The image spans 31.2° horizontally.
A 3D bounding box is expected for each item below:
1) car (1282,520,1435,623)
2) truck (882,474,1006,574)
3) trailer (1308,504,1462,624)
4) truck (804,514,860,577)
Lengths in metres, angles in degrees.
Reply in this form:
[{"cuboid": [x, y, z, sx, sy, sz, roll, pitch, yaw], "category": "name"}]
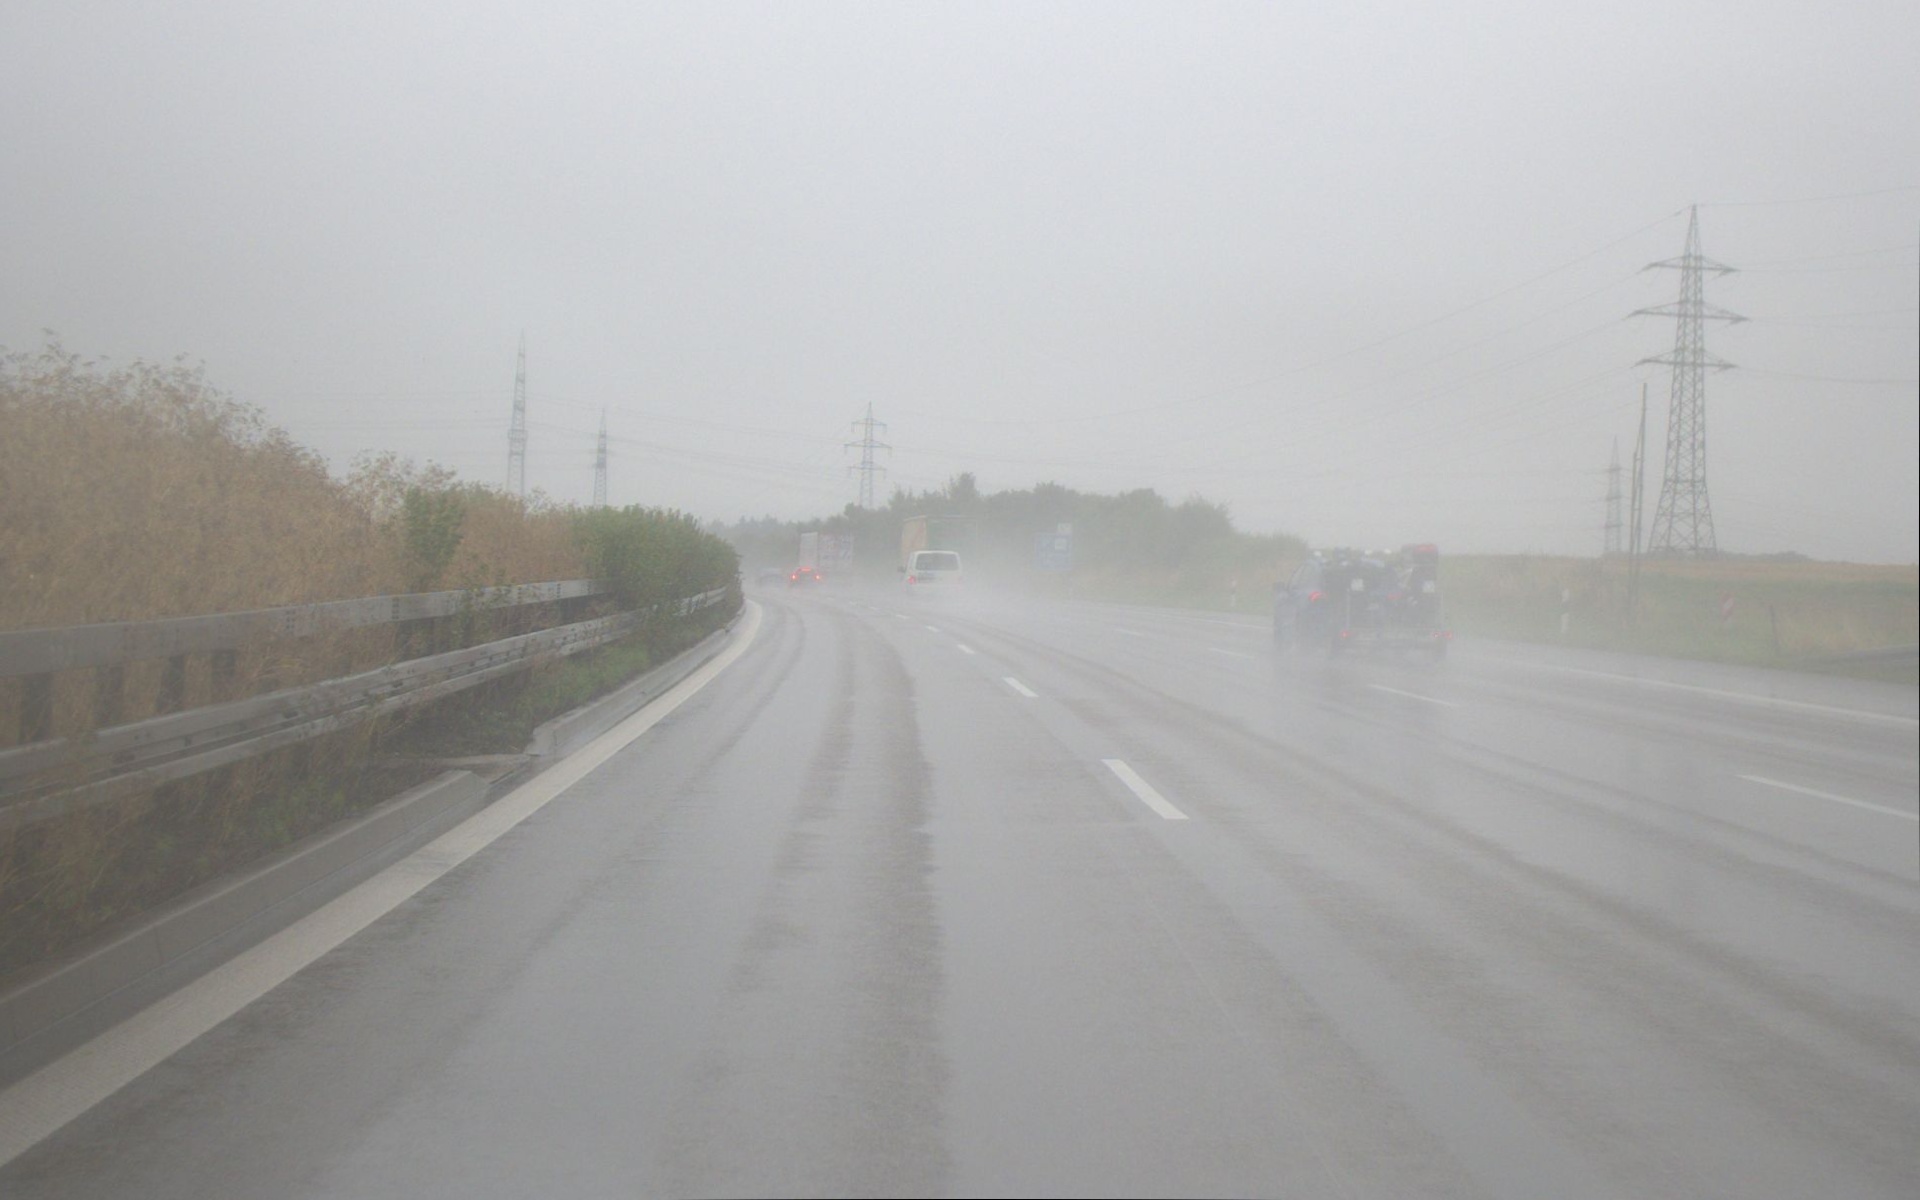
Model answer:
[{"cuboid": [6.576, -0.445, 57.219, 1.993, 1.613, 4.992, 1, 0, 0], "category": "car"}, {"cuboid": [-0.938, -3.703, 173.112, 4.188, 4.614, 16.108, 1, 0, -7], "category": "truck"}, {"cuboid": [6.528, -0.539, 53.138, 1.979, 1.779, 3.189, 1, 0, 0], "category": "trailer"}, {"cuboid": [-9.114, -3.837, 243.438, 3.232, 4.297, 8.838, 1, 1, -6], "category": "truck"}]
